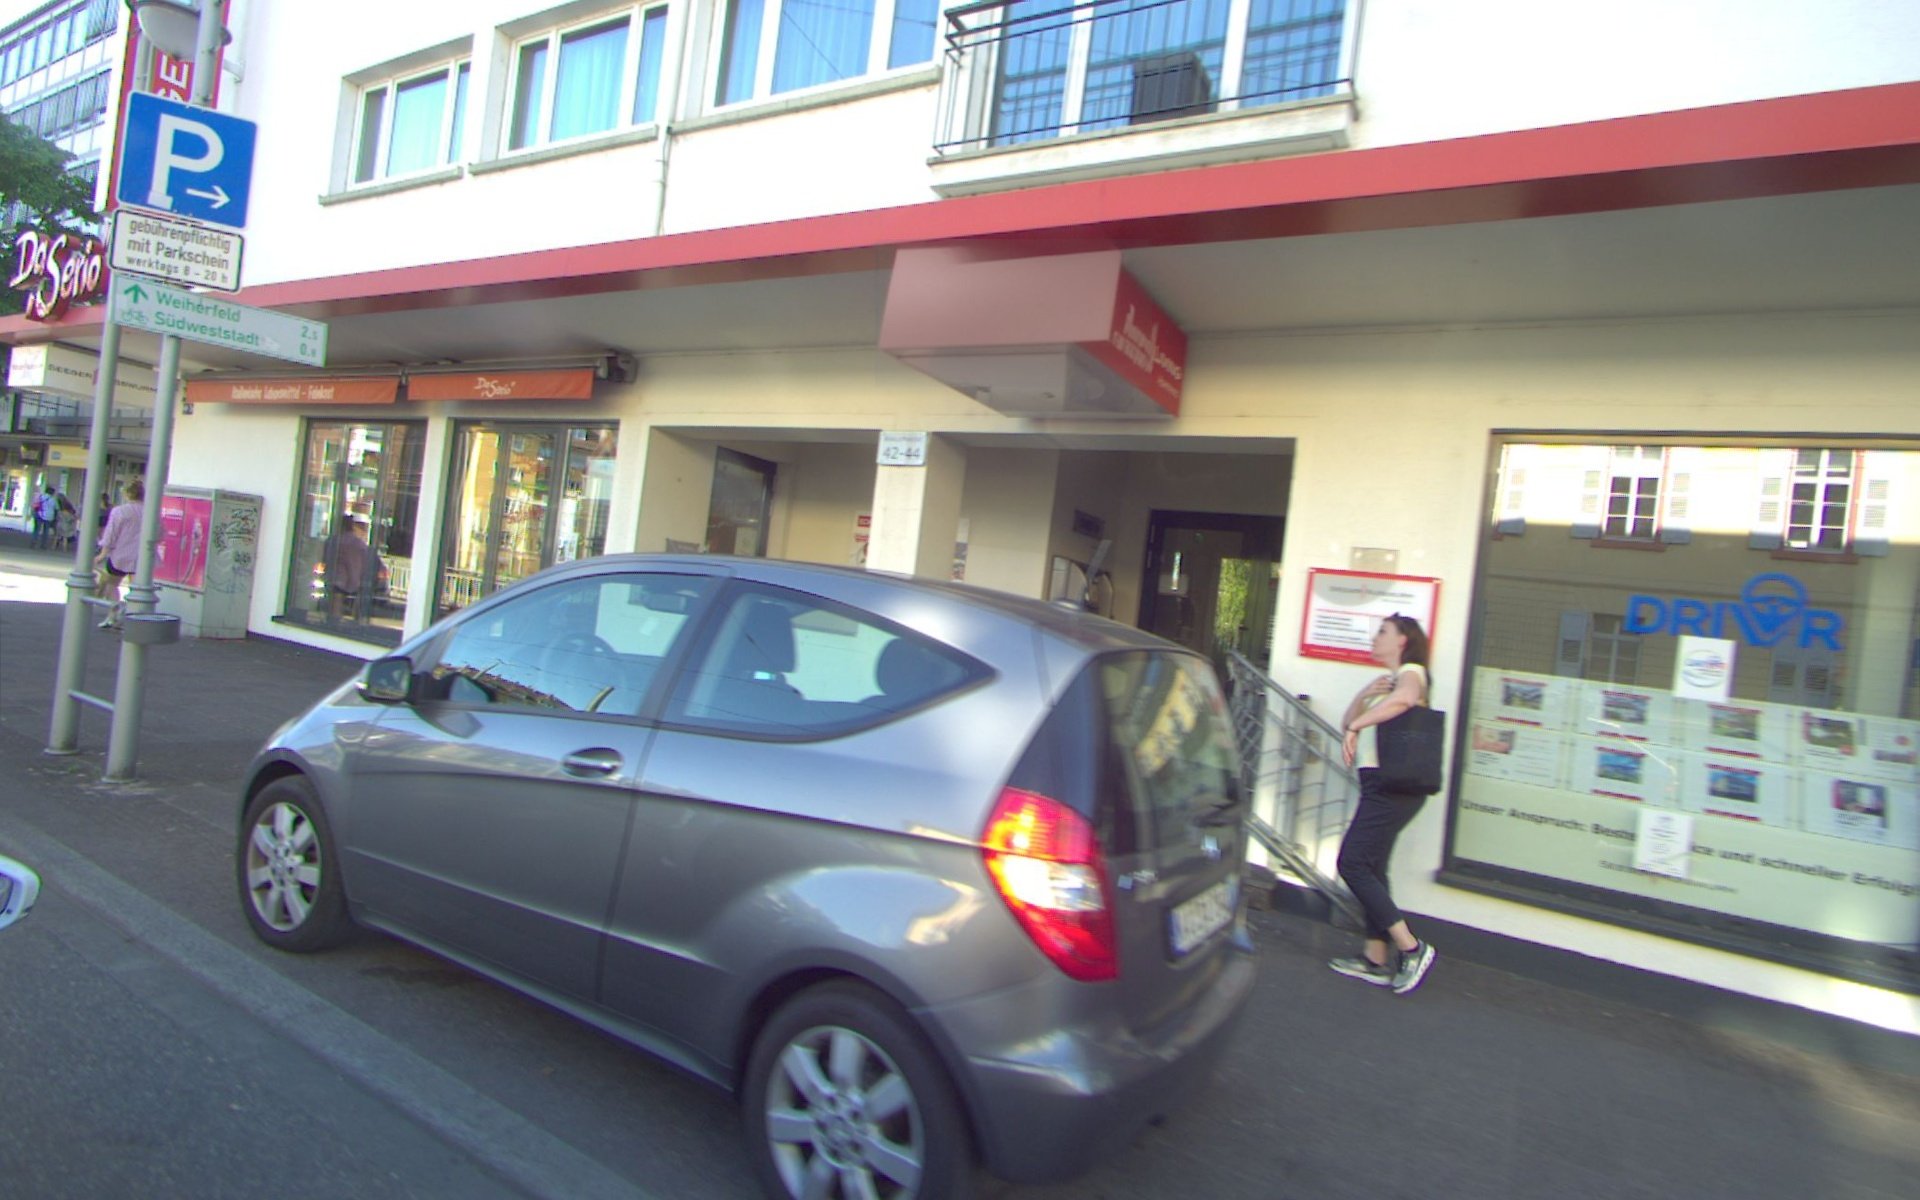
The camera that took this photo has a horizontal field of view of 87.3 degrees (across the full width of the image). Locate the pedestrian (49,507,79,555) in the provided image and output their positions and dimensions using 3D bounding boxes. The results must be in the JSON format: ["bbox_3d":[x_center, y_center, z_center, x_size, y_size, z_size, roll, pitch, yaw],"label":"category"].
[{"bbox_3d":[-25.384,-1.953,28.492,0.522,1.296,0.420,7,0,33],"label":"pedestrian"}]

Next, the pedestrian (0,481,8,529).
[{"bbox_3d":[-21.029,-1.751,21.265,0.519,1.761,1.009,8,-2,7],"label":"pedestrian"}]

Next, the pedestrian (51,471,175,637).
[{"bbox_3d":[-9.501,-0.498,11.325,0.813,1.702,0.708,9,-3,-36],"label":"pedestrian"}]

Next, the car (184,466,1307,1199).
[{"bbox_3d":[-0.887,0.565,3.605,3.588,1.652,1.747,7,0,32],"label":"car"}]

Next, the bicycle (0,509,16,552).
[{"bbox_3d":[-26.805,-2.024,26.953,0.475,1.134,2.055,7,-2,32],"label":"bicycle"}]

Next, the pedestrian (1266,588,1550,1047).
[{"bbox_3d":[2.023,0.916,4.659,0.915,1.796,0.806,7,0,21],"label":"pedestrian"}]

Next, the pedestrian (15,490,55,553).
[{"bbox_3d":[-25.503,-2.160,27.737,0.459,1.661,0.595,7,0,33],"label":"pedestrian"}]
